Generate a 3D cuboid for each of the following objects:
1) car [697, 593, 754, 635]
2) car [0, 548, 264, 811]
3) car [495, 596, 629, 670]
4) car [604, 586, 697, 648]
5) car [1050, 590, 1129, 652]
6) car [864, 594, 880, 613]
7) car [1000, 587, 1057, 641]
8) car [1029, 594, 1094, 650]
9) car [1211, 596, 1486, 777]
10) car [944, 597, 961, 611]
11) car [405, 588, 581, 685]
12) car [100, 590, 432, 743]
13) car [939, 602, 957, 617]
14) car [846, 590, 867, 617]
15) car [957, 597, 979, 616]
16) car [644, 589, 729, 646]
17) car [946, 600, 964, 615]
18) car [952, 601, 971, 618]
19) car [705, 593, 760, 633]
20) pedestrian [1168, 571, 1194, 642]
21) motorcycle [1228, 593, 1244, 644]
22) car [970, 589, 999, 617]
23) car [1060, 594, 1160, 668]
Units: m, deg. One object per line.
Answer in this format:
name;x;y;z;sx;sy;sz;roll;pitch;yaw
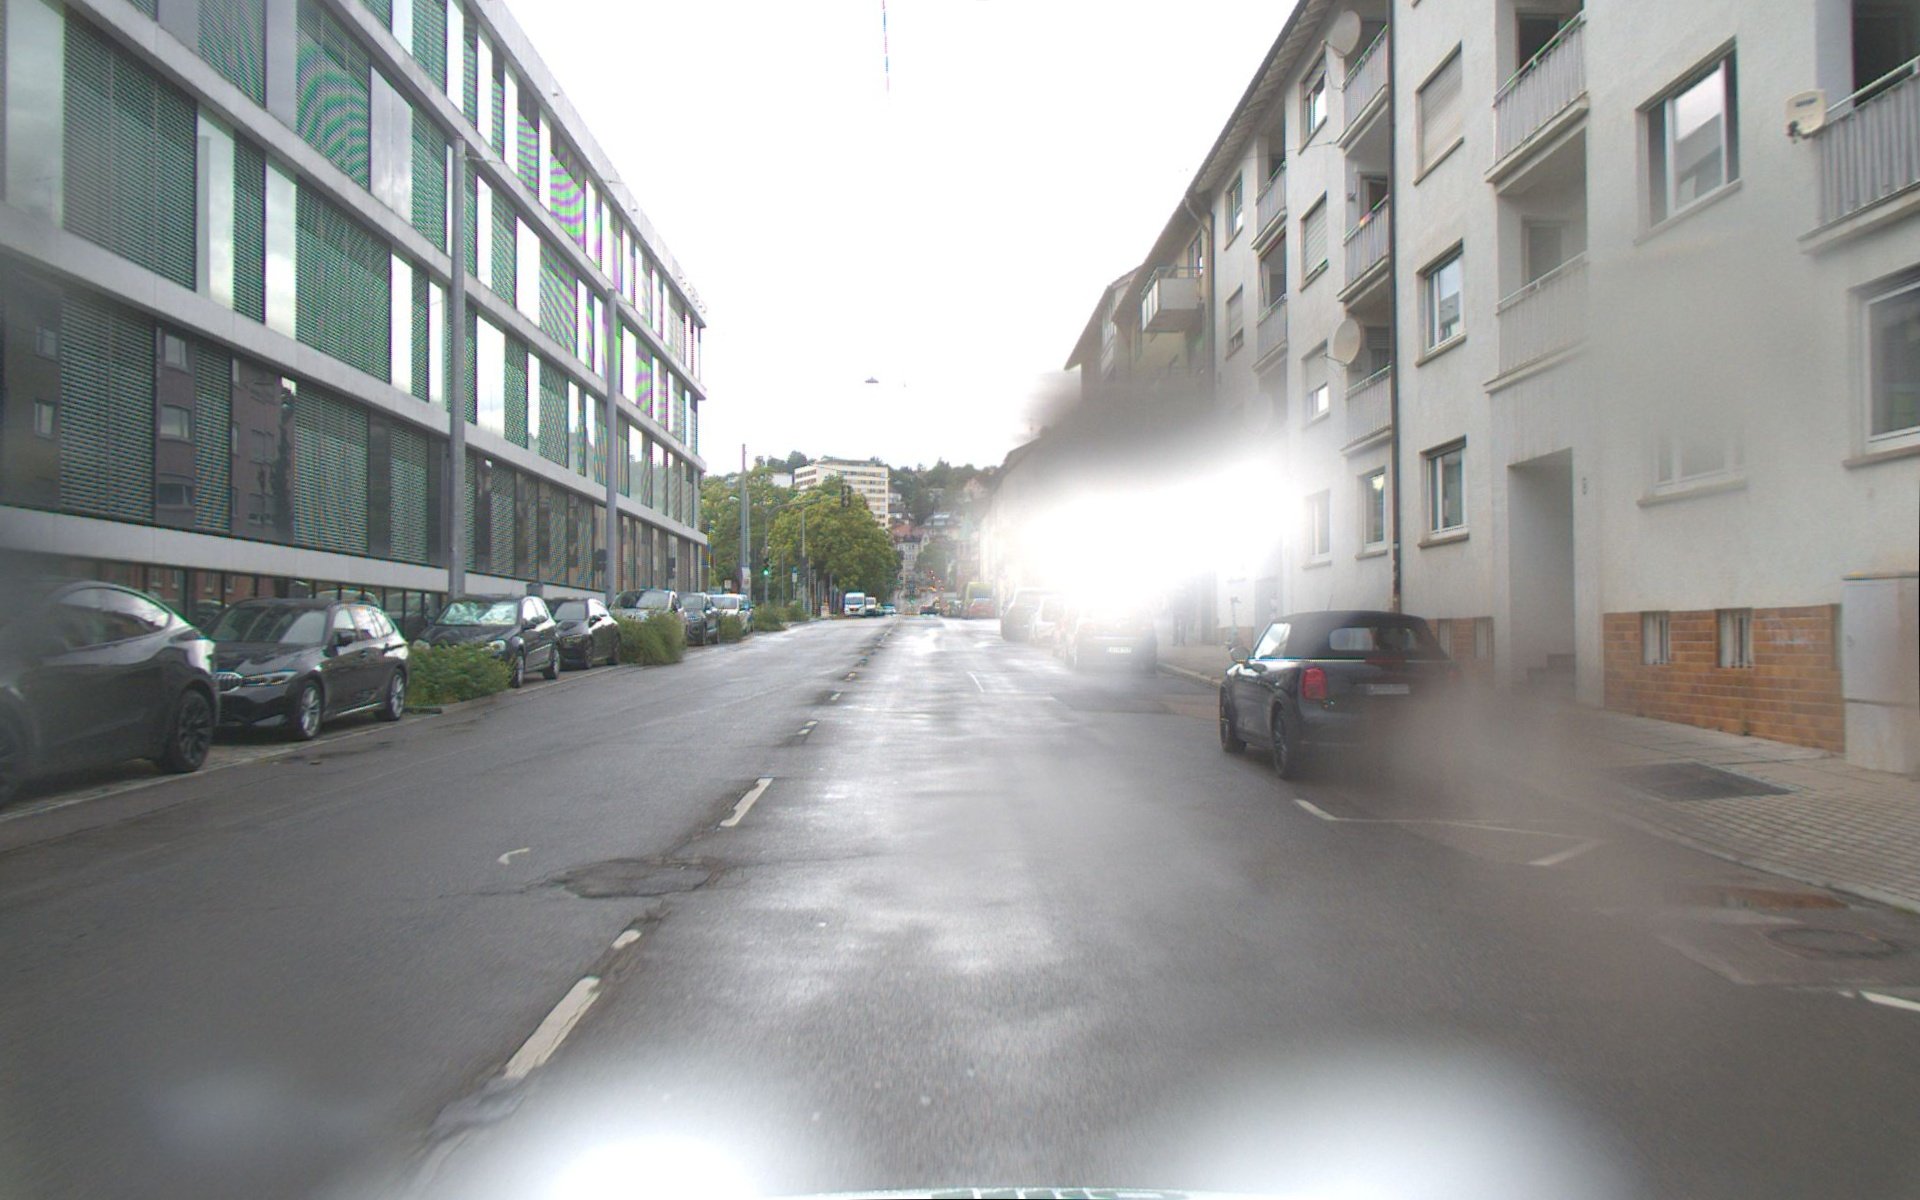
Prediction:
car;-8.613;0.490;61.014;1.562;1.485;3.719;0;0;0
car;-7.431;0.543;12.794;1.922;1.781;4.942;0;0;1
car;-8.191;0.656;34.417;1.800;1.420;4.391;0;0;-1
car;-8.173;0.429;44.022;1.735;1.561;4.315;0;0;-1
car;3.152;0.508;40.779;1.550;1.438;3.652;0;0;-2
car;-10.781;0.439;201.723;1.830;2.179;4.354;0;-1;-5
car;2.285;0.442;56.074;1.621;1.768;4.178;0;0;-2
car;2.986;0.640;49.310;1.602;1.598;3.709;0;0;-2
car;3.560;0.724;15.819;1.639;1.485;3.763;0;1;-2
car;-0.884;0.512;196.592;1.828;1.632;4.190;0;-1;1
car;-7.807;0.588;28.082;1.825;1.515;4.345;0;0;-1
car;-7.619;0.670;18.738;1.833;1.498;4.739;0;0;-1
car;-1.344;1.037;185.717;1.828;1.632;4.190;0;-1;1
car;-10.200;0.395;162.871;2.063;2.591;4.747;0;-1;-4
car;0.734;0.587;142.883;1.828;1.632;4.190;0;-1;1
car;-8.240;0.531;50.105;1.764;1.632;4.234;0;-1;1
car;-0.503;0.825;177.571;1.828;1.632;4.190;0;-1;1
car;0.162;0.929;162.226;1.828;1.632;4.190;0;-1;1
car;-9.092;0.488;66.325;1.830;1.552;4.194;0;0;-4
pedestrian;6.001;0.175;44.952;0.626;1.903;0.538;0;-1;0
motorcycle;6.488;0.425;38.874;0.247;1.186;0.781;0;-1;1
car;1.587;0.210;107.567;1.828;1.801;4.190;0;-1;1
car;3.146;0.633;35.404;1.672;1.480;3.983;0;0;-2
